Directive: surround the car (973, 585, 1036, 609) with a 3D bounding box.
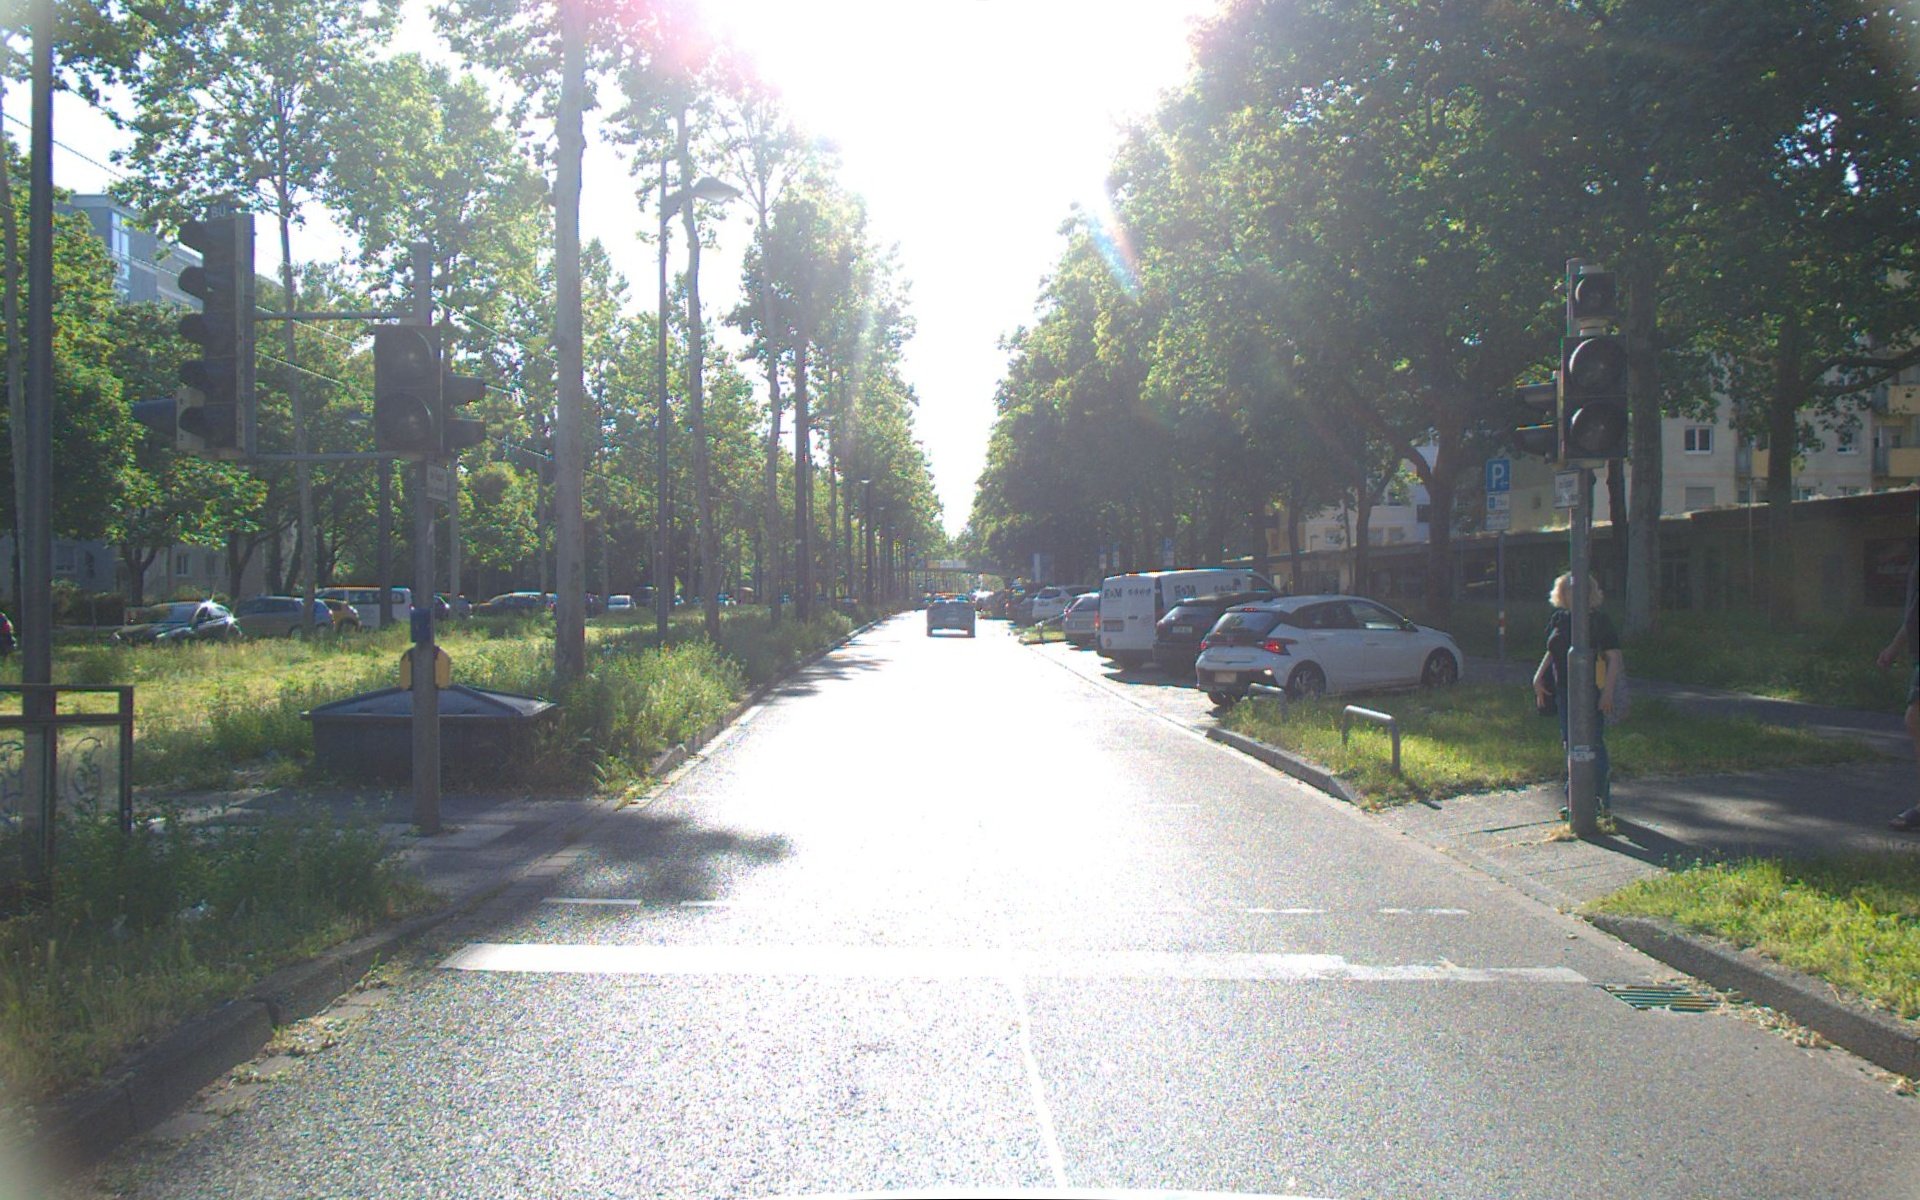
[{"bbox_3d":[3.081,-0.230,114.083,1.826,1.469,4.461,-2,0,45],"label":"car"}]

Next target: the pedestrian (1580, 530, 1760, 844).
[{"bbox_3d":[4.144,0.482,9.665,0.704,1.736,0.646,-2,0,-35],"label":"pedestrian"}]

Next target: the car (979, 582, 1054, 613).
[{"bbox_3d":[3.226,-0.154,94.134,4.280,1.747,1.612,-1,0,-40],"label":"car"}]

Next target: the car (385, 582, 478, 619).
[{"bbox_3d":[-24.566,0.003,76.913,4.015,1.635,1.982,-1,2,-22],"label":"car"}]

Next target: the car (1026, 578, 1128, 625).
[{"bbox_3d":[4.659,0.054,65.645,3.995,1.734,1.733,-2,0,-43],"label":"car"}]

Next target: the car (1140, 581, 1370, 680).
[{"bbox_3d":[5.283,0.508,29.423,3.956,1.454,1.776,-4,1,-37],"label":"car"}]

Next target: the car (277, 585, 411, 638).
[{"bbox_3d":[-24.918,0.427,66.981,4.753,2.041,1.866,-1,2,-40],"label":"car"}]

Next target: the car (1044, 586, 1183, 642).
[{"bbox_3d":[4.426,0.395,47.298,4.155,1.437,1.692,-2,0,-45],"label":"car"}]

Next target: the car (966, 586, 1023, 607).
[{"bbox_3d":[2.586,-0.242,124.454,1.826,1.449,4.298,-2,0,45],"label":"car"}]

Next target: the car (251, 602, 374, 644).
[{"bbox_3d":[-24.385,0.856,62.338,4.052,1.457,1.554,-1,-1,-43],"label":"car"}]

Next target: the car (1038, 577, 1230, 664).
[{"bbox_3d":[3.928,0.422,36.918,4.465,1.734,1.733,-2,0,-43],"label":"car"}]

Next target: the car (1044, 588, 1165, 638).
[{"bbox_3d":[4.488,0.386,51.100,3.910,1.397,1.561,-2,0,-45],"label":"car"}]

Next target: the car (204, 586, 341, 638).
[{"bbox_3d":[-23.606,0.407,56.900,4.052,1.675,1.625,-1,-1,-43],"label":"car"}]

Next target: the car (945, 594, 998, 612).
[{"bbox_3d":[1.019,0.238,142.646,1.945,1.484,4.595,-1,0,43],"label":"car"}]

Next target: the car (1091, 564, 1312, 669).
[{"bbox_3d":[4.885,0.284,33.047,4.630,1.885,1.803,-2,0,-42],"label":"car"}]

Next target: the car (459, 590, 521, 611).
[{"bbox_3d":[-37.730,0.011,132.797,4.452,1.596,1.766,-1,0,-44],"label":"car"}]

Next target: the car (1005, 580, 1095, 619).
[{"bbox_3d":[3.765,-0.015,68.970,3.760,1.496,1.624,-2,0,-45],"label":"car"}]

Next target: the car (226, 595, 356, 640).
[{"bbox_3d":[-24.152,0.604,59.785,4.052,1.509,1.625,-1,0,-43],"label":"car"}]

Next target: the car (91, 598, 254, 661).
[{"bbox_3d":[-19.342,0.683,40.833,1.952,1.413,4.168,-1,1,1],"label":"car"}]

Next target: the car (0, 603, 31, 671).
[{"bbox_3d":[-24.497,0.930,39.171,1.622,1.501,4.061,5,4,41],"label":"car"}]

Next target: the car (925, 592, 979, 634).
[{"bbox_3d":[-0.312,0.457,60.259,1.883,1.436,3.999,0,1,-2],"label":"car"}]

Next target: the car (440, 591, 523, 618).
[{"bbox_3d":[-26.583,0.228,91.989,4.100,1.361,1.767,-1,2,-44],"label":"car"}]

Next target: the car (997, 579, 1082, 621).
[{"bbox_3d":[3.846,-0.010,79.333,4.049,1.842,1.626,-2,0,-41],"label":"car"}]

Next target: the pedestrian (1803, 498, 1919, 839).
[{"bbox_3d":[5.633,0.378,9.792,0.782,1.918,0.928,0,0,-3],"label":"pedestrian"}]

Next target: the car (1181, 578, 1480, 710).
[{"bbox_3d":[5.150,0.560,22.836,3.949,1.495,1.741,-4,1,-33],"label":"car"}]

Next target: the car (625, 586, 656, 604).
[{"bbox_3d":[-27.112,-0.434,140.373,1.834,1.478,3.574,2,0,1],"label":"car"}]

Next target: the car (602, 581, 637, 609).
[{"bbox_3d":[-26.840,-0.404,130.606,1.611,2.129,4.915,2,0,1],"label":"car"}]

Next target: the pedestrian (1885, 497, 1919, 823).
[{"bbox_3d":[5.577,0.320,8.789,0.825,1.752,0.829,-1,0,-5],"label":"pedestrian"}]

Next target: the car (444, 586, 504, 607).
[{"bbox_3d":[-36.061,-0.274,122.690,3.891,1.513,1.766,-1,0,-44],"label":"car"}]

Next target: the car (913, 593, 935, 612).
[{"bbox_3d":[-3.078,0.161,140.840,1.811,1.562,3.866,0,0,-1],"label":"car"}]

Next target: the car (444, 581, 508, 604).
[{"bbox_3d":[-37.813,-0.576,129.291,4.452,1.704,1.766,-1,0,-44],"label":"car"}]

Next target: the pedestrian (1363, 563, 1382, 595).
[{"bbox_3d":[25.465,-1.285,102.119,0.856,1.947,0.869,-1,0,-10],"label":"pedestrian"}]
